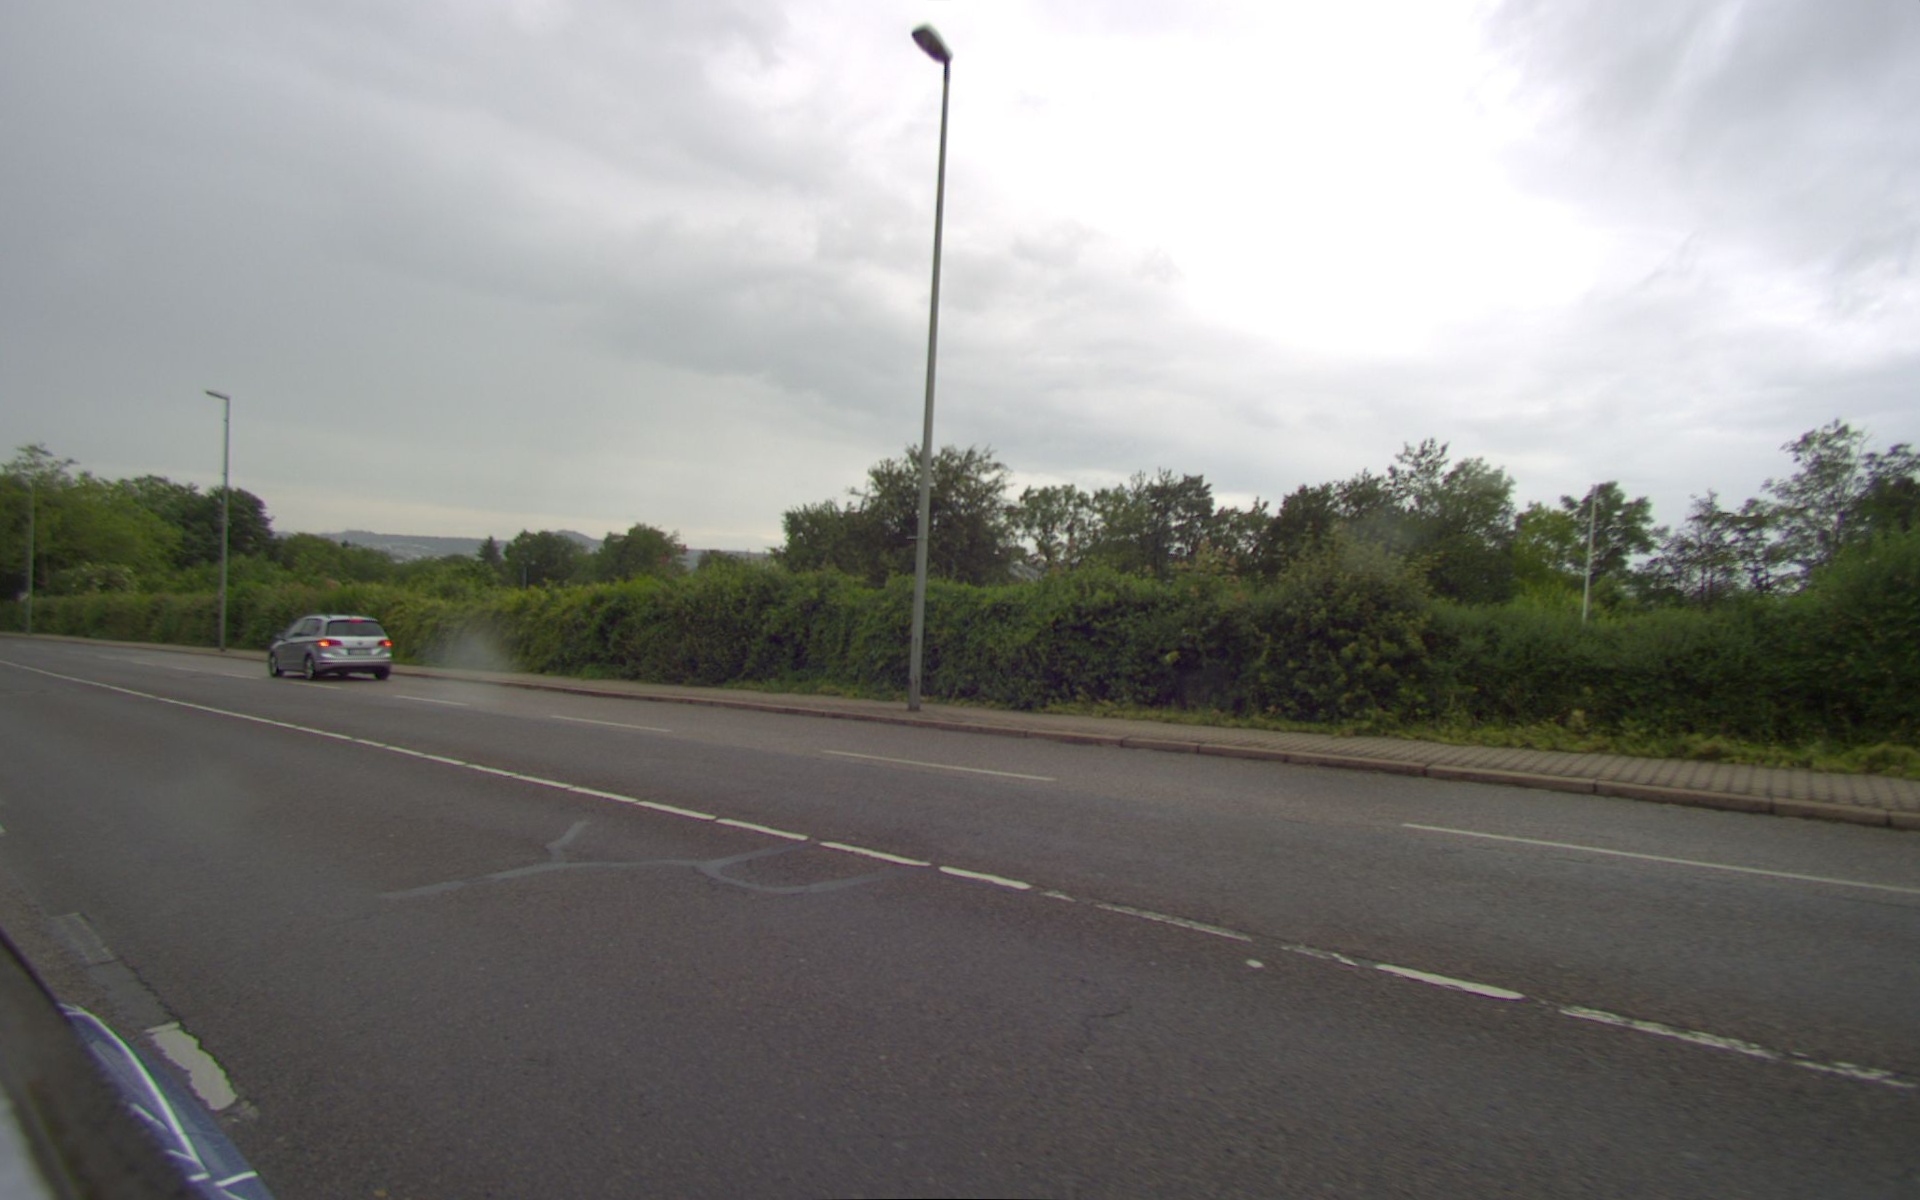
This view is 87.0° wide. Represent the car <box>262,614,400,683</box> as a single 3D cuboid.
[{"bbox_3d":[-15.710,1.181,25.215,3.996,1.580,1.738,-1,-3,40],"label":"car"}]
